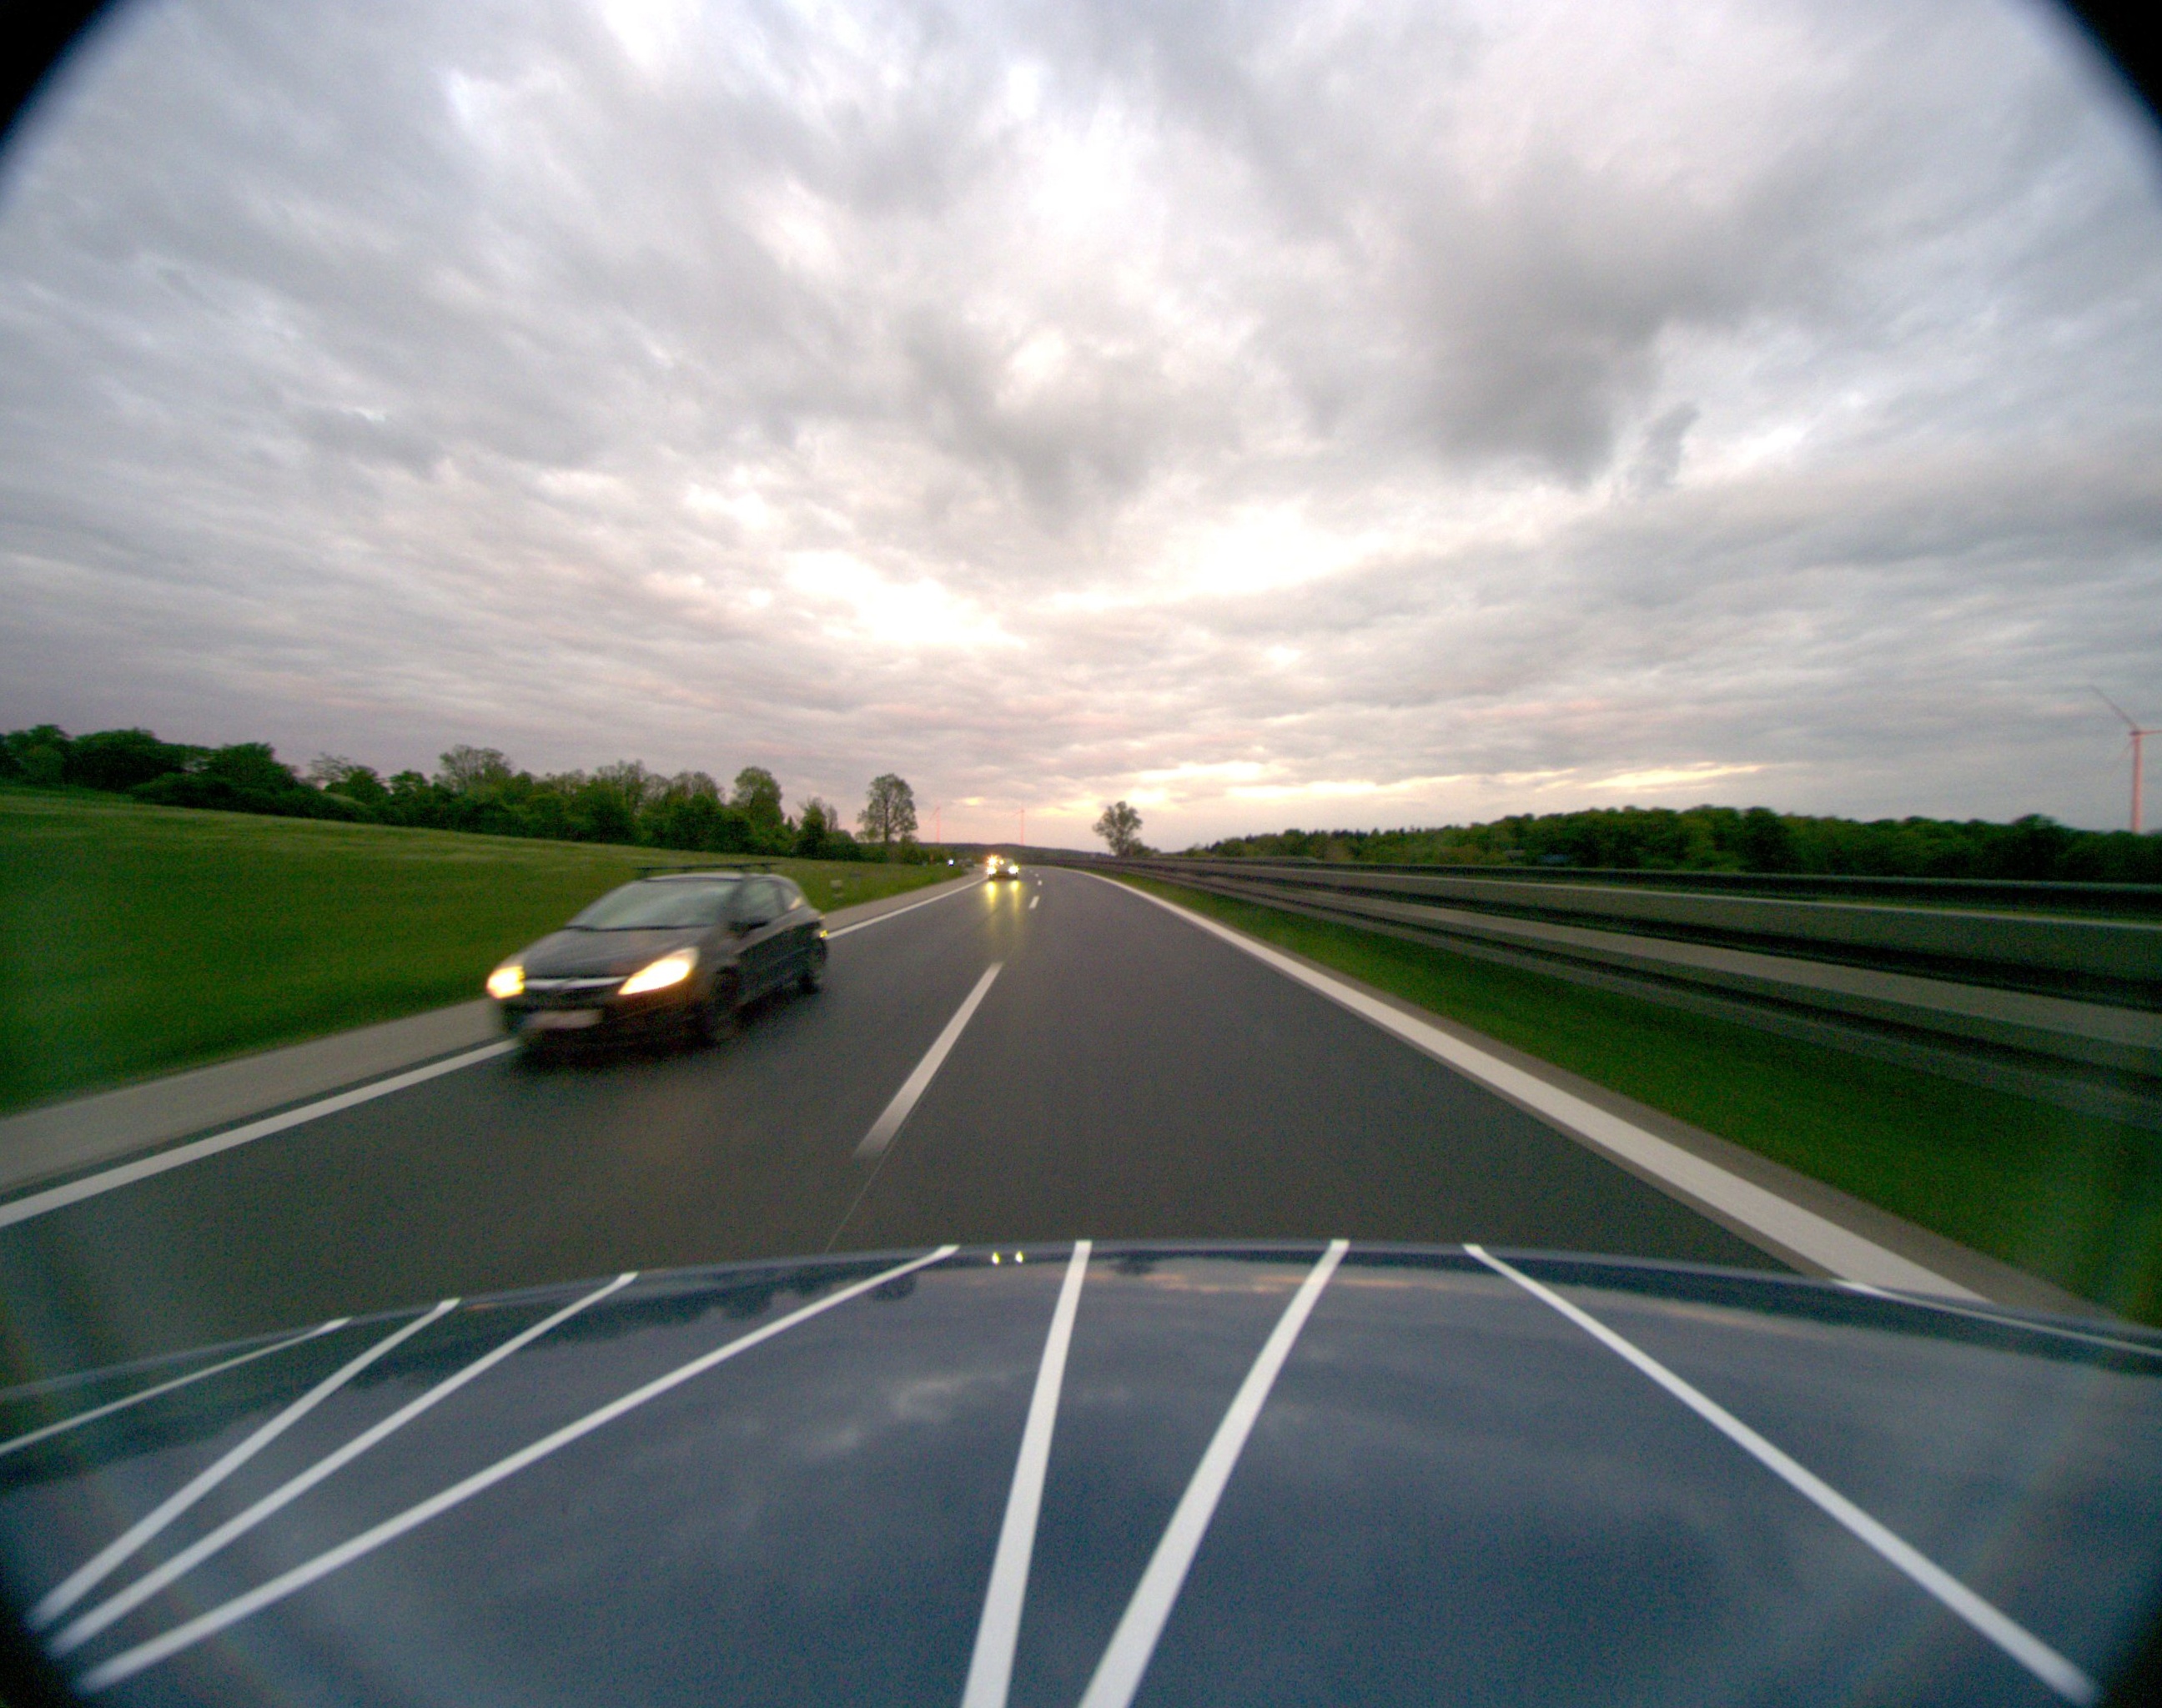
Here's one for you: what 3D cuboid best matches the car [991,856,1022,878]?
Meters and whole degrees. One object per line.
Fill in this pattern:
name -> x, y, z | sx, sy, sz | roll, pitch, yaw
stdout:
car -> -5.024, 0.858, 51.563 | 1.885, 1.388, 3.999 | 0, 1, -2

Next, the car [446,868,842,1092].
car -> -3.852, 0.969, 7.618 | 1.682, 1.504, 3.999 | -2, 0, -1

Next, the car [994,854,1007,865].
car -> -14.014, 0.900, 132.183 | 1.921, 1.827, 3.996 | 0, 1, -9
